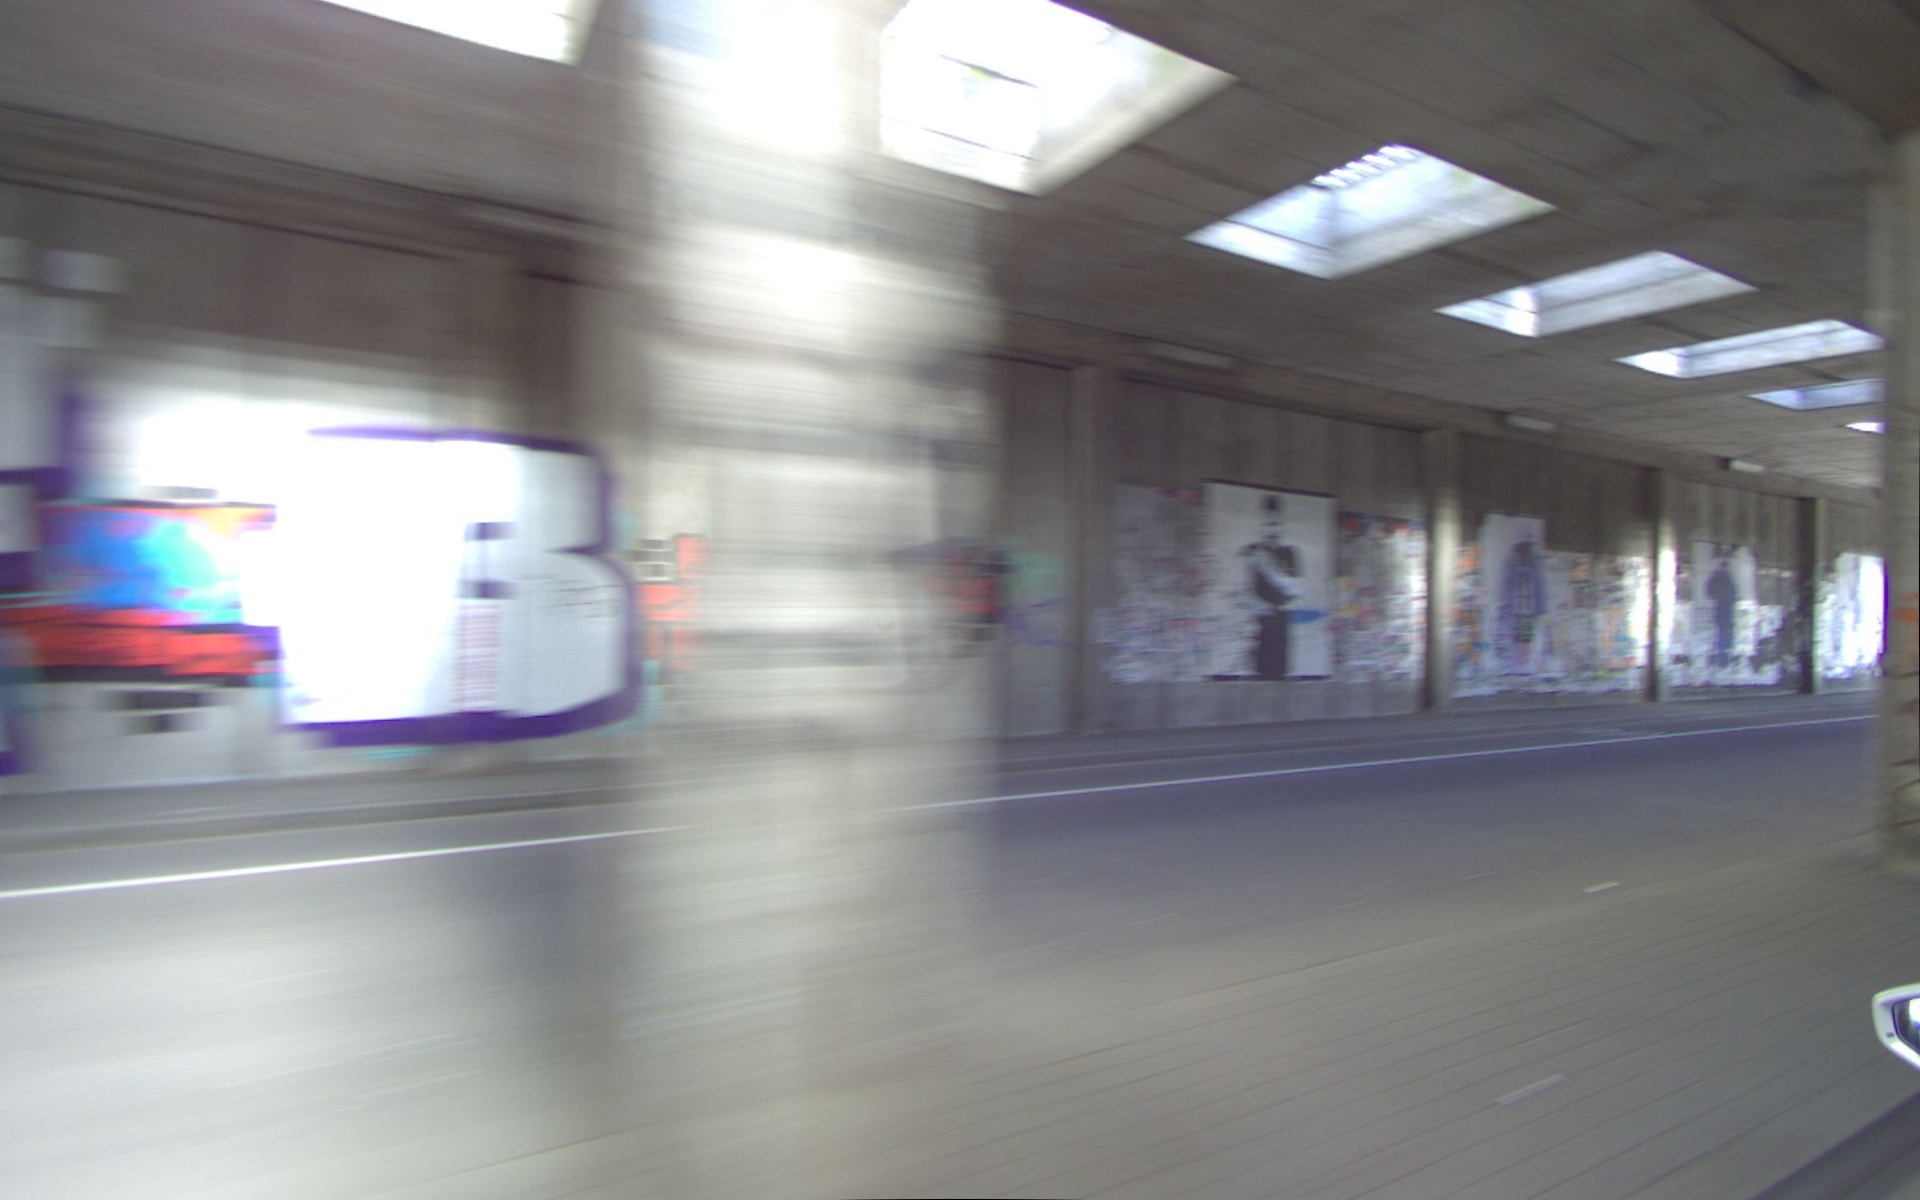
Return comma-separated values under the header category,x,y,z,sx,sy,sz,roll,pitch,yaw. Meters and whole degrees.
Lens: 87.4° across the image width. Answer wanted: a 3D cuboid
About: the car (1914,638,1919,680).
category,x,y,z,sx,sy,sz,roll,pitch,yaw
car,49.586,2.937,48.689,1.976,2.040,4.459,-1,0,-30
